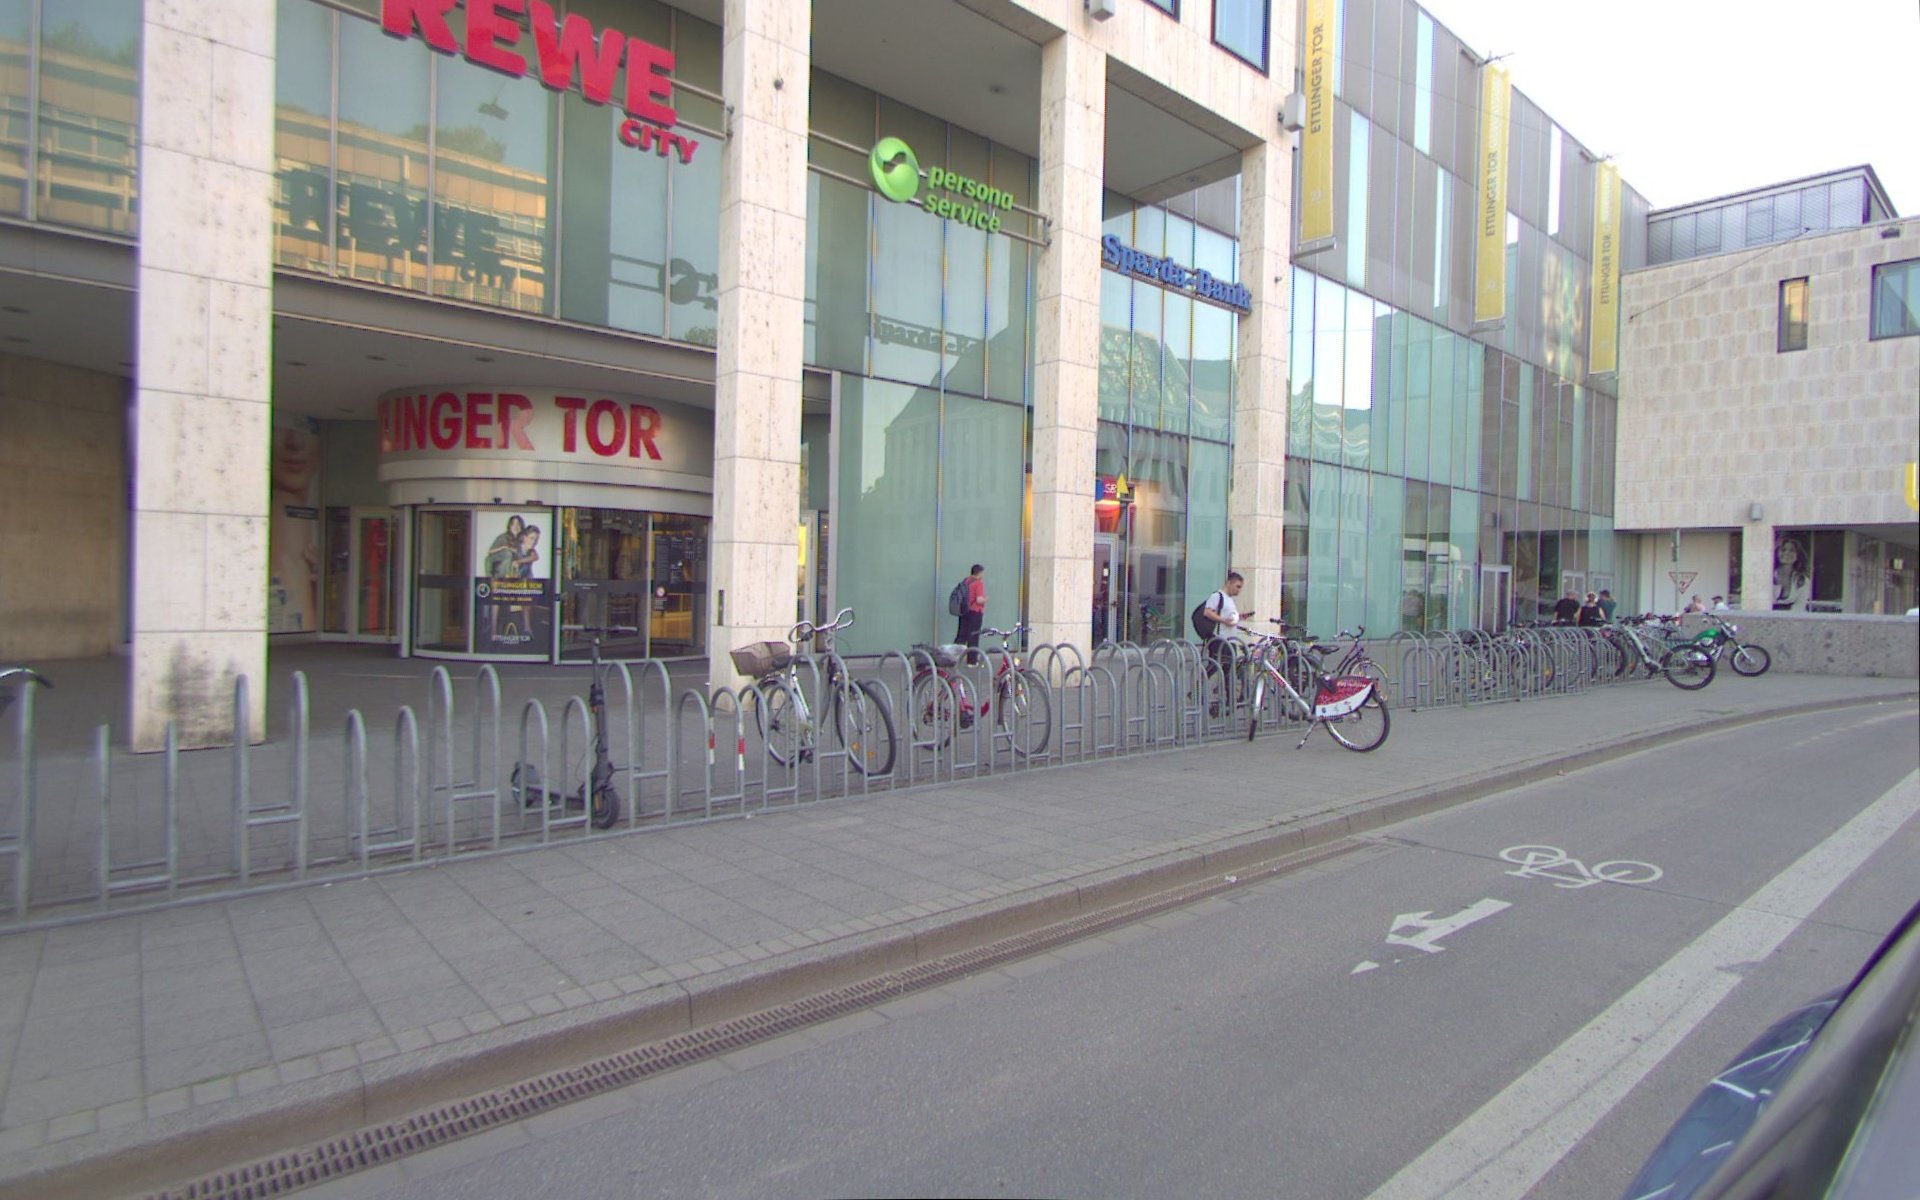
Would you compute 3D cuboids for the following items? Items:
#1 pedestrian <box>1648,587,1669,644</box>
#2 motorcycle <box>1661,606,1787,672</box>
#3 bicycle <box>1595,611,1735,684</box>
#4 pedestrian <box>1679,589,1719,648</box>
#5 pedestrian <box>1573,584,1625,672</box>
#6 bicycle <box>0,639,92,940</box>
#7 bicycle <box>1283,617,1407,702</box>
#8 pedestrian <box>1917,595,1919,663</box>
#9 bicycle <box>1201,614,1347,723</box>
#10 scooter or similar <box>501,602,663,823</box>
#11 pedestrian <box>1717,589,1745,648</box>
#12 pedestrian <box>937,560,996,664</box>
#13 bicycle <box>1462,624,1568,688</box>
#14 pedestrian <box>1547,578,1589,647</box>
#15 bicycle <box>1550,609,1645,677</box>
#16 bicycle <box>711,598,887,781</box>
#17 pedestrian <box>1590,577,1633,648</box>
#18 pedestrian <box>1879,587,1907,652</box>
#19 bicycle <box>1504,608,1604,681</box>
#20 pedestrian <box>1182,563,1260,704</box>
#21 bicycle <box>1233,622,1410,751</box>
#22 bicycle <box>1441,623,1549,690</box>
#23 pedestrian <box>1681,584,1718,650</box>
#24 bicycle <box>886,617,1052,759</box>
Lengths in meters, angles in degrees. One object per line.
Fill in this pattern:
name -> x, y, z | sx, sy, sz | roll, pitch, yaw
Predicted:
pedestrian -> 21.799, 0.480, 31.580 | 0.444, 1.765, 0.364 | 1, 1, -38
motorcycle -> 15.698, 0.777, 20.851 | 0.472, 1.239, 2.004 | 1, 1, -43
bicycle -> 11.686, 0.762, 16.828 | 0.458, 1.161, 1.837 | 1, -2, -39
pedestrian -> 22.643, 0.551, 31.017 | 0.644, 1.765, 0.794 | 1, 1, -38
pedestrian -> 12.498, 0.530, 19.809 | 0.802, 1.663, 0.640 | 2, 1, 31
bicycle -> -4.463, 0.786, 4.675 | 1.768, 1.092, 0.475 | 3, 1, 43
bicycle -> 5.134, 0.771, 13.530 | 1.439, 1.078, 0.572 | -1, -2, 39
pedestrian -> 25.192, 0.762, 26.199 | 0.483, 1.765, 0.516 | 1, 1, -38
bicycle -> 3.501, 0.732, 11.390 | 0.569, 1.138, 1.519 | 1, -2, -37
scooter or similar -> -2.393, 0.643, 6.352 | 0.484, 1.214, 1.194 | 1, 1, -44
pedestrian -> 23.393, 0.554, 30.694 | 0.644, 1.765, 0.494 | 1, 1, -38
pedestrian -> 0.101, 0.190, 16.688 | 0.695, 1.672, 0.629 | 1, 1, -40
bicycle -> 8.576, 0.844, 15.667 | 0.509, 0.944, 1.344 | 1, -2, -41
pedestrian -> 15.142, 0.301, 25.202 | 0.738, 1.668, 0.808 | 2, 1, 41
bicycle -> 11.514, 0.758, 18.303 | 0.509, 1.179, 1.344 | 1, -2, -41
bicycle -> -1.246, 0.618, 7.650 | 0.607, 1.243, 1.517 | 1, -2, -41
pedestrian -> 16.037, 0.299, 24.912 | 0.807, 1.717, 0.697 | 1, 1, -45
pedestrian -> 25.755, 0.520, 27.942 | 0.483, 1.765, 0.455 | 1, 1, -38
bicycle -> 9.952, 0.726, 16.978 | 0.509, 1.179, 1.344 | 1, -2, -41
pedestrian -> 3.291, 0.401, 12.770 | 0.619, 1.713, 0.706 | 1, 1, -45
bicycle -> 3.294, 0.750, 9.327 | 0.458, 1.077, 1.518 | 1, -2, -39
bicycle -> 8.066, 0.832, 15.288 | 0.509, 0.944, 1.344 | 1, -2, -41
pedestrian -> 20.825, 0.469, 28.496 | 0.797, 1.802, 0.619 | 1, 1, -38
bicycle -> 0.049, 0.705, 8.748 | 0.543, 1.120, 1.516 | 1, -2, -43
